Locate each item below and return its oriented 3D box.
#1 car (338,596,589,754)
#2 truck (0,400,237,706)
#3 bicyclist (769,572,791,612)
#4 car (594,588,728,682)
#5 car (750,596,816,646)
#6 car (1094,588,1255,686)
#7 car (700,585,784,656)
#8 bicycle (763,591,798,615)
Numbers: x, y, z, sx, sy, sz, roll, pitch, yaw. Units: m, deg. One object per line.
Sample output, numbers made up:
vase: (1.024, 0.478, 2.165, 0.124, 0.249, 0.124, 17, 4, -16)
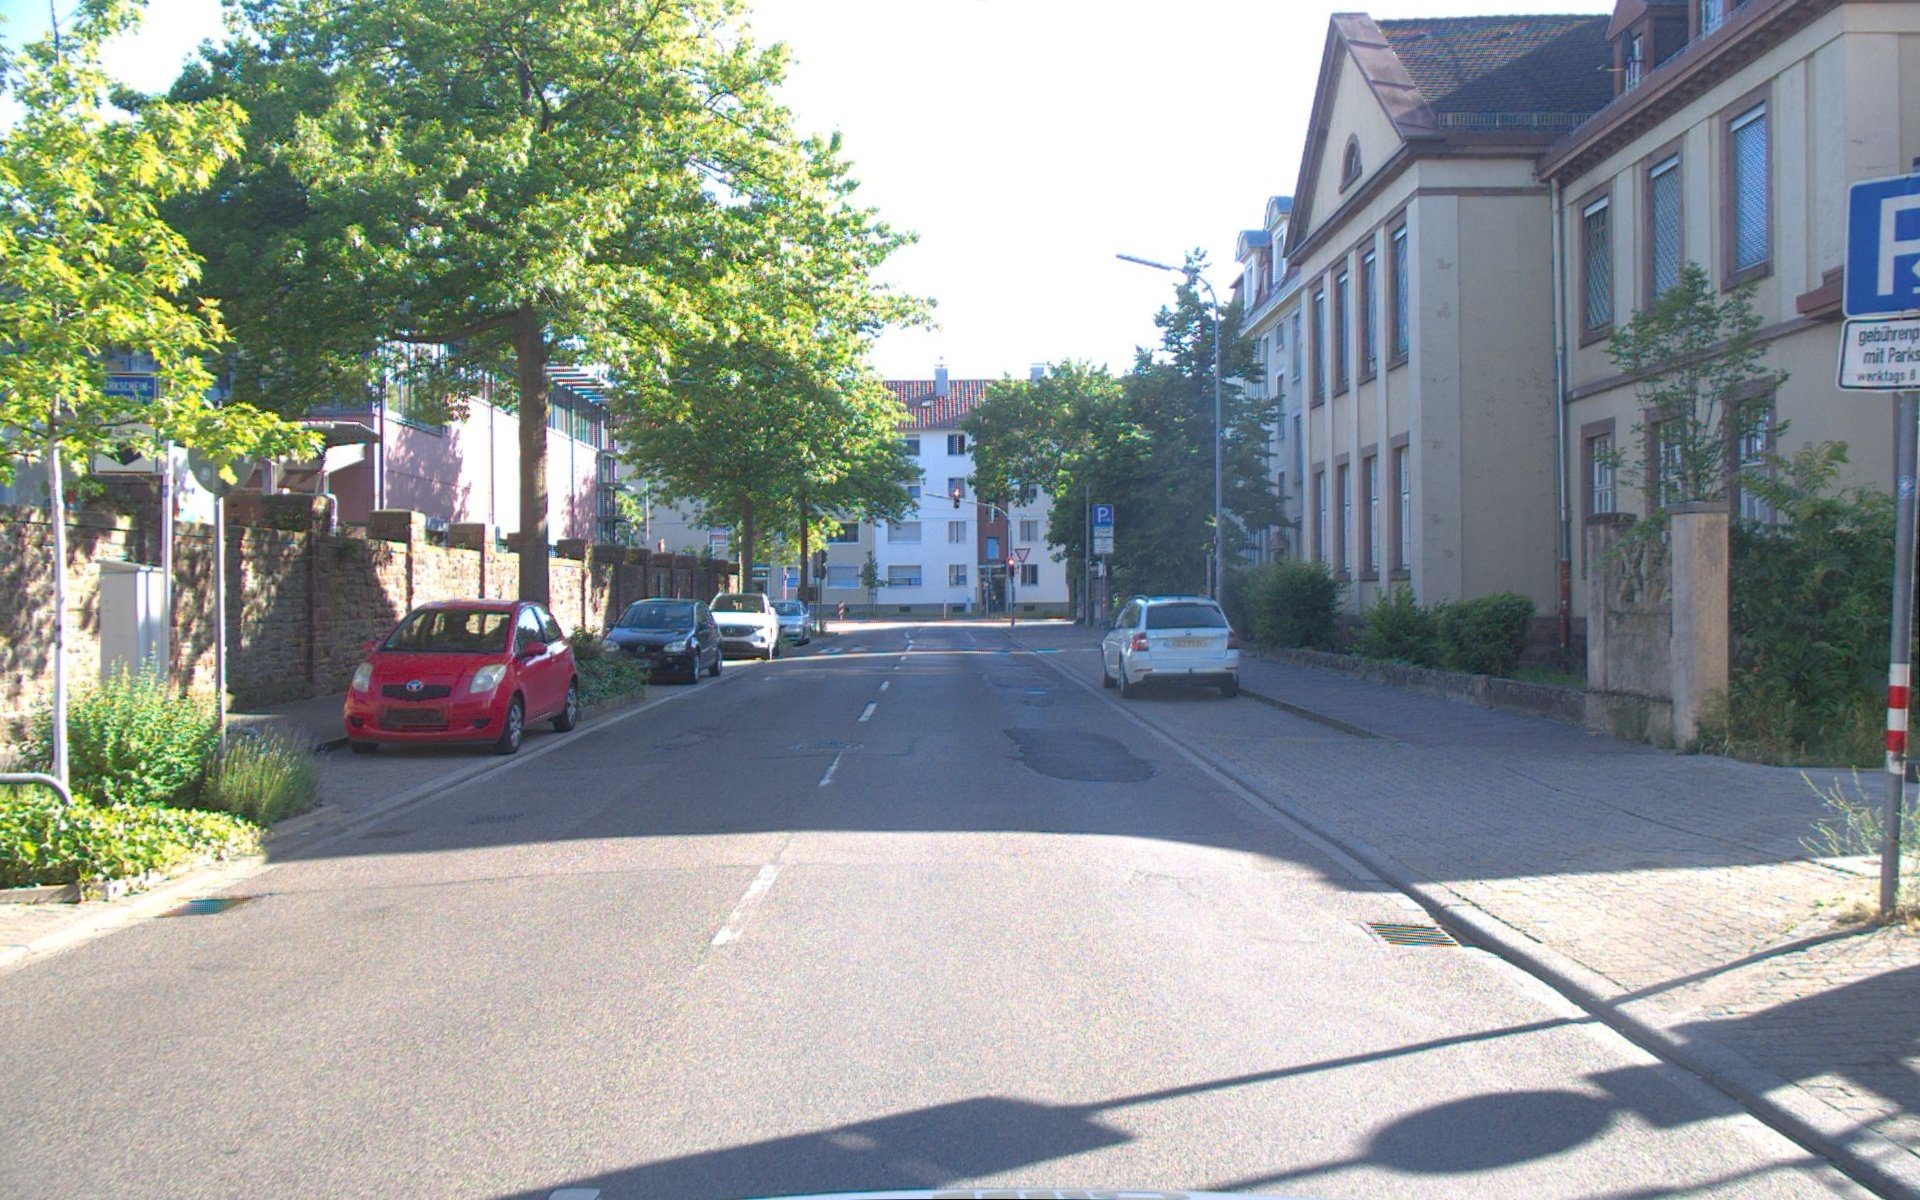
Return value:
car: (-5.225, 0.725, 17.885, 1.576, 1.484, 3.708, 2, 0, 0)
truck: (-13.260, -0.617, 23.545, 2.677, 3.776, 7.426, 2, 0, -1)
bicyclist: (-8.116, -0.345, 74.655, 0.782, 1.788, 0.603, 0, 0, -42)
car: (-5.500, 0.602, 30.865, 1.701, 1.620, 4.107, 0, 0, 1)
car: (-5.688, 0.642, 53.650, 1.691, 1.501, 4.477, 2, 0, -1)
car: (3.204, 0.518, 25.561, 1.795, 1.346, 4.495, -1, 0, -1)
car: (-5.448, 0.481, 41.748, 1.685, 1.713, 4.349, 0, 0, -2)
bicycle: (-8.109, 0.132, 74.649, 1.675, 1.099, 0.346, 1, 0, -43)
